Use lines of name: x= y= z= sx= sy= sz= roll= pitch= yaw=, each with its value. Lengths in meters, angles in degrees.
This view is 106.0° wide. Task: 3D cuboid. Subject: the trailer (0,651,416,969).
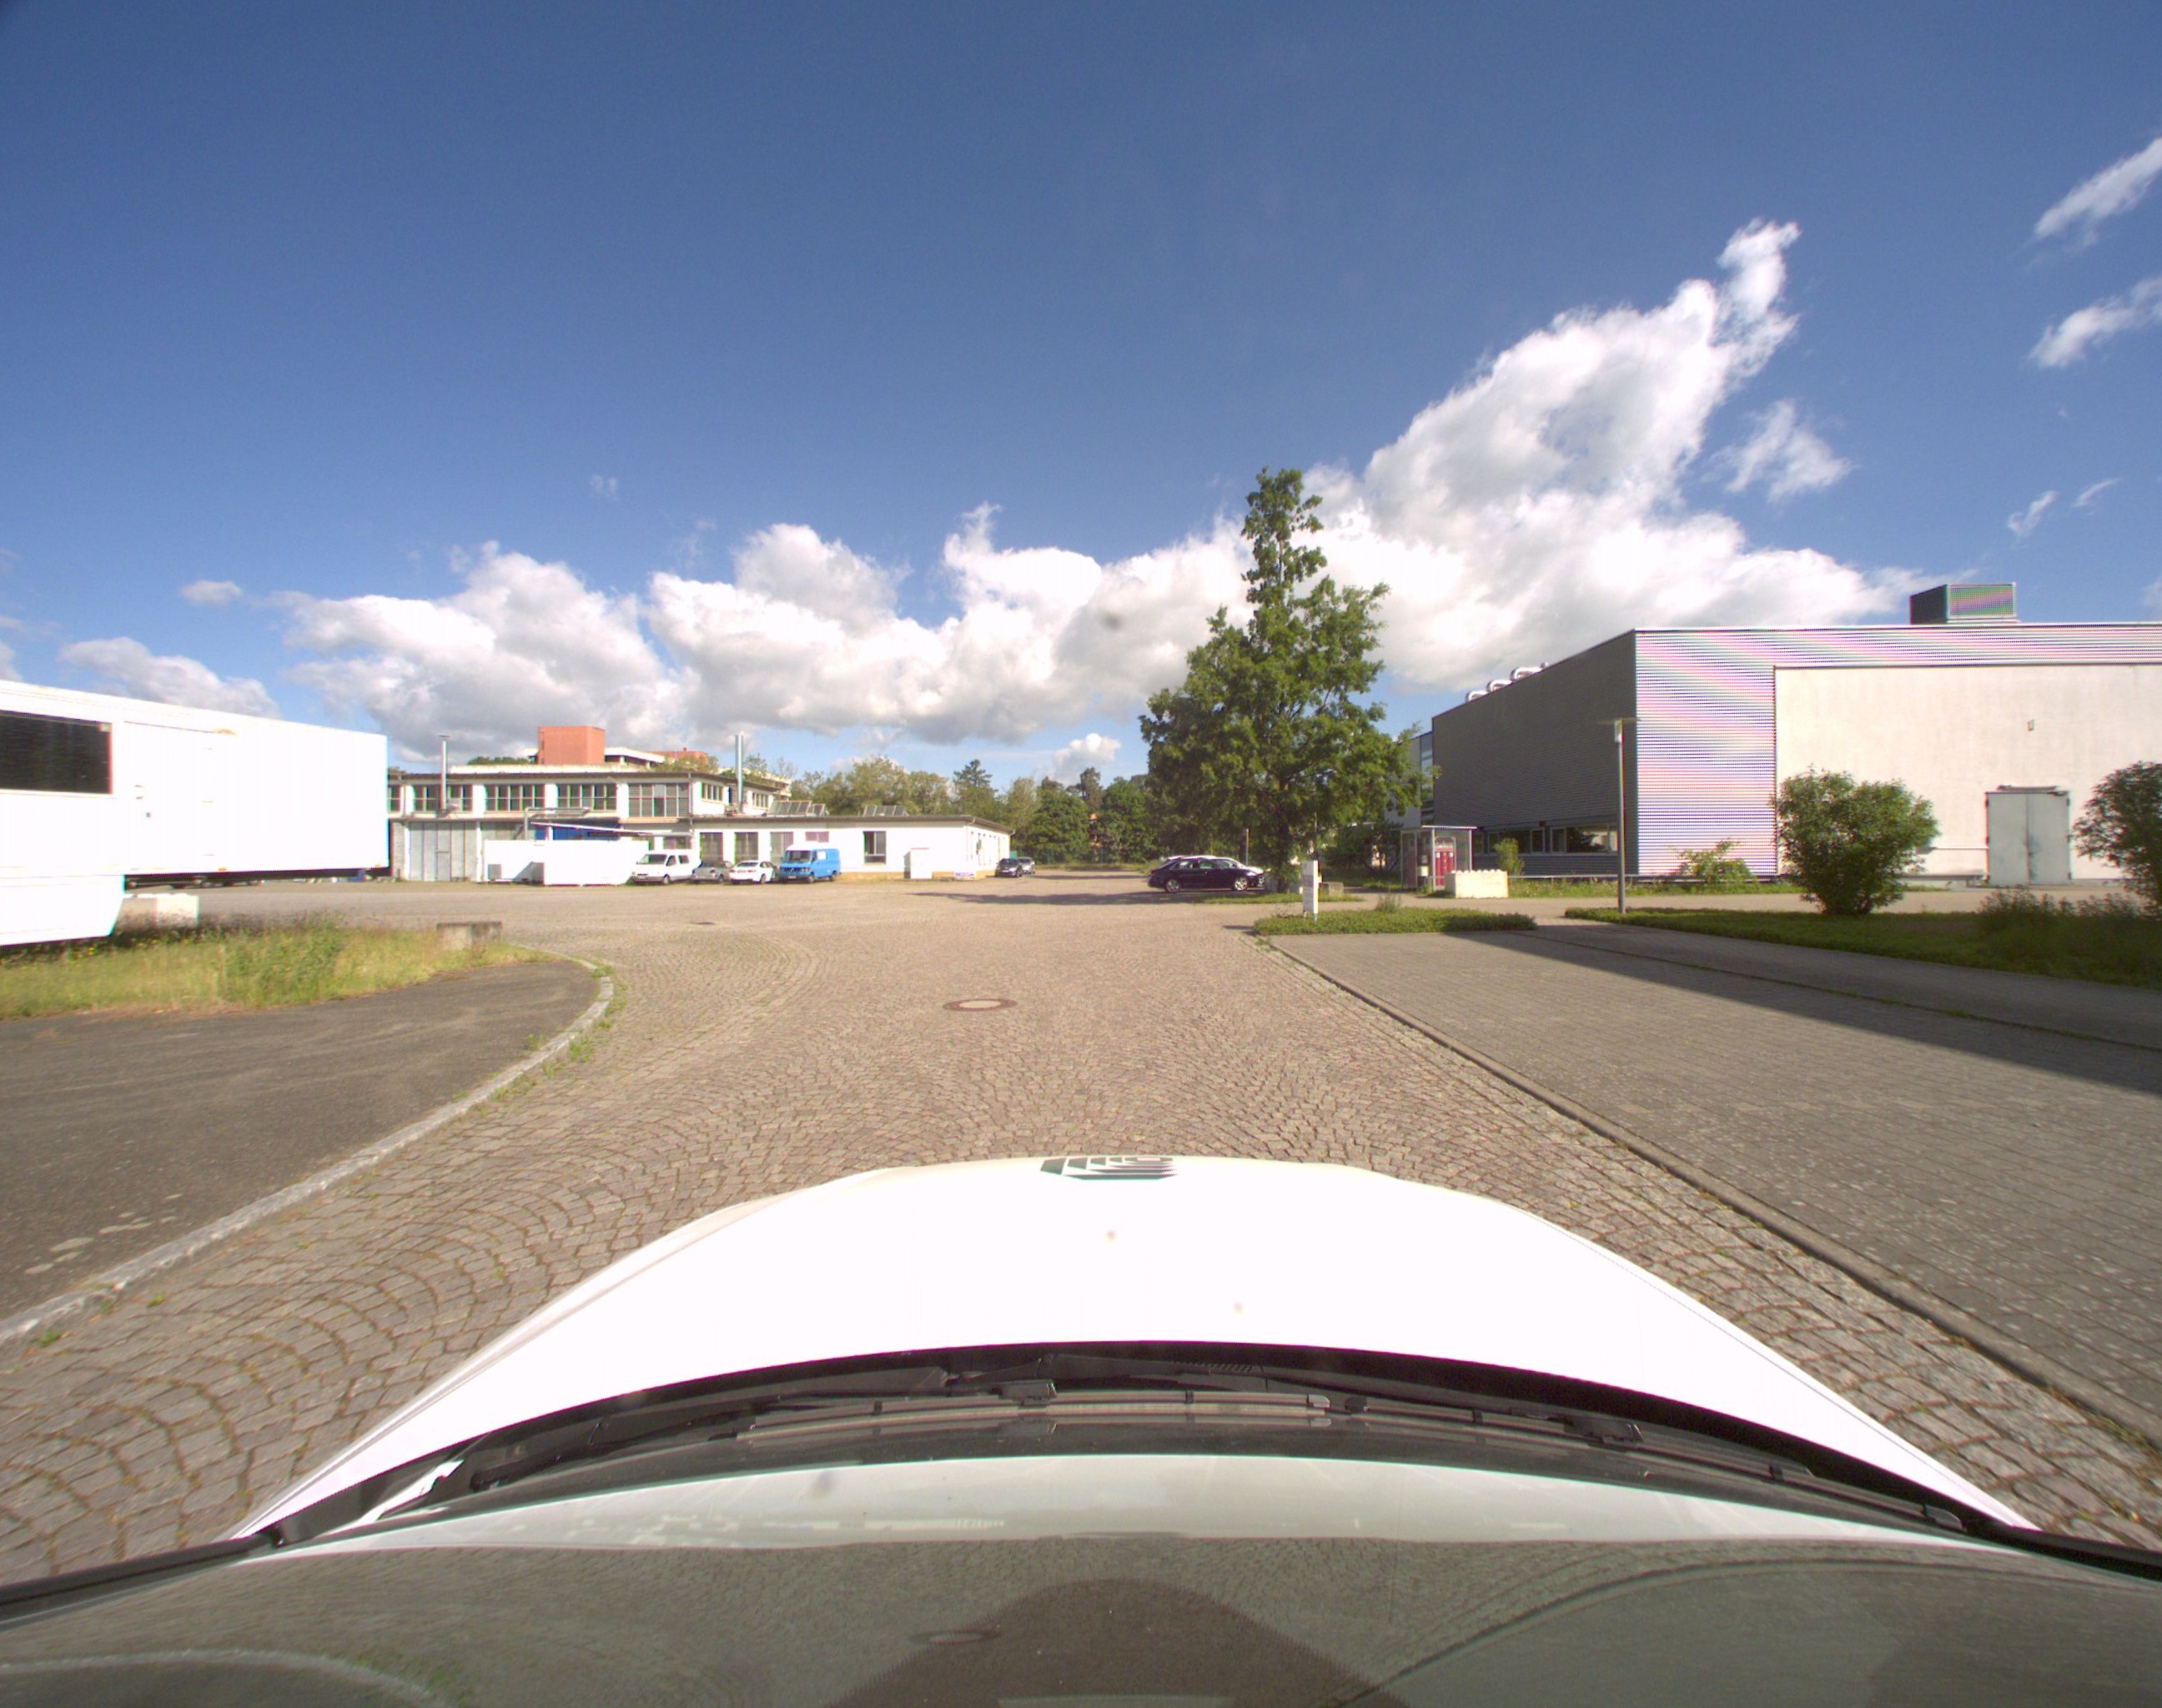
trailer: x=-14.631 y=-0.527 z=10.362 sx=2.760 sy=3.911 sz=10.898 roll=-1 pitch=0 yaw=4

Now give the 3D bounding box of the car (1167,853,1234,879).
car: x=7.304 y=0.737 z=50.102 sx=3.896 sy=1.435 sz=1.797 roll=-2 pitch=0 yaw=2

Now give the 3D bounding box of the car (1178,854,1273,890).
car: x=6.501 y=0.813 z=37.049 sx=4.116 sy=1.460 sz=1.695 roll=-2 pitch=-1 yaw=7

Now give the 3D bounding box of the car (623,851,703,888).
car: x=-25.199 y=0.898 z=49.301 sx=1.994 sy=2.081 sz=4.811 roll=-1 pitch=0 yaw=5

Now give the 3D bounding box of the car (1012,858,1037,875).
car: x=-4.930 y=1.043 z=71.398 sx=1.680 sy=1.435 sz=3.989 roll=0 pitch=0 yaw=3

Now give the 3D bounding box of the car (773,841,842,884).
car: x=-16.671 y=0.522 z=49.950 sx=2.073 sy=2.483 sz=5.246 roll=-1 pitch=0 yaw=5

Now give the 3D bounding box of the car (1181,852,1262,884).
car: x=7.210 y=0.701 z=42.061 sx=3.896 sy=1.446 sz=1.757 roll=-2 pitch=0 yaw=2

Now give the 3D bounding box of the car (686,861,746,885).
car: x=-22.260 y=1.133 z=49.786 sx=1.679 sy=1.398 sz=3.836 roll=0 pitch=0 yaw=5

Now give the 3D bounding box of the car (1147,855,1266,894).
car: x=5.227 y=0.842 z=34.351 sx=4.702 sy=1.423 sz=1.757 roll=-2 pitch=0 yaw=0

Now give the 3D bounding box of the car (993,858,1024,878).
car: x=-5.395 y=1.031 z=61.286 sx=1.756 sy=1.435 sz=3.995 roll=0 pitch=0 yaw=3

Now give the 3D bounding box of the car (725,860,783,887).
car: x=-19.512 y=1.160 z=48.759 sx=1.724 sy=1.405 sz=3.744 roll=-1 pitch=1 yaw=5
